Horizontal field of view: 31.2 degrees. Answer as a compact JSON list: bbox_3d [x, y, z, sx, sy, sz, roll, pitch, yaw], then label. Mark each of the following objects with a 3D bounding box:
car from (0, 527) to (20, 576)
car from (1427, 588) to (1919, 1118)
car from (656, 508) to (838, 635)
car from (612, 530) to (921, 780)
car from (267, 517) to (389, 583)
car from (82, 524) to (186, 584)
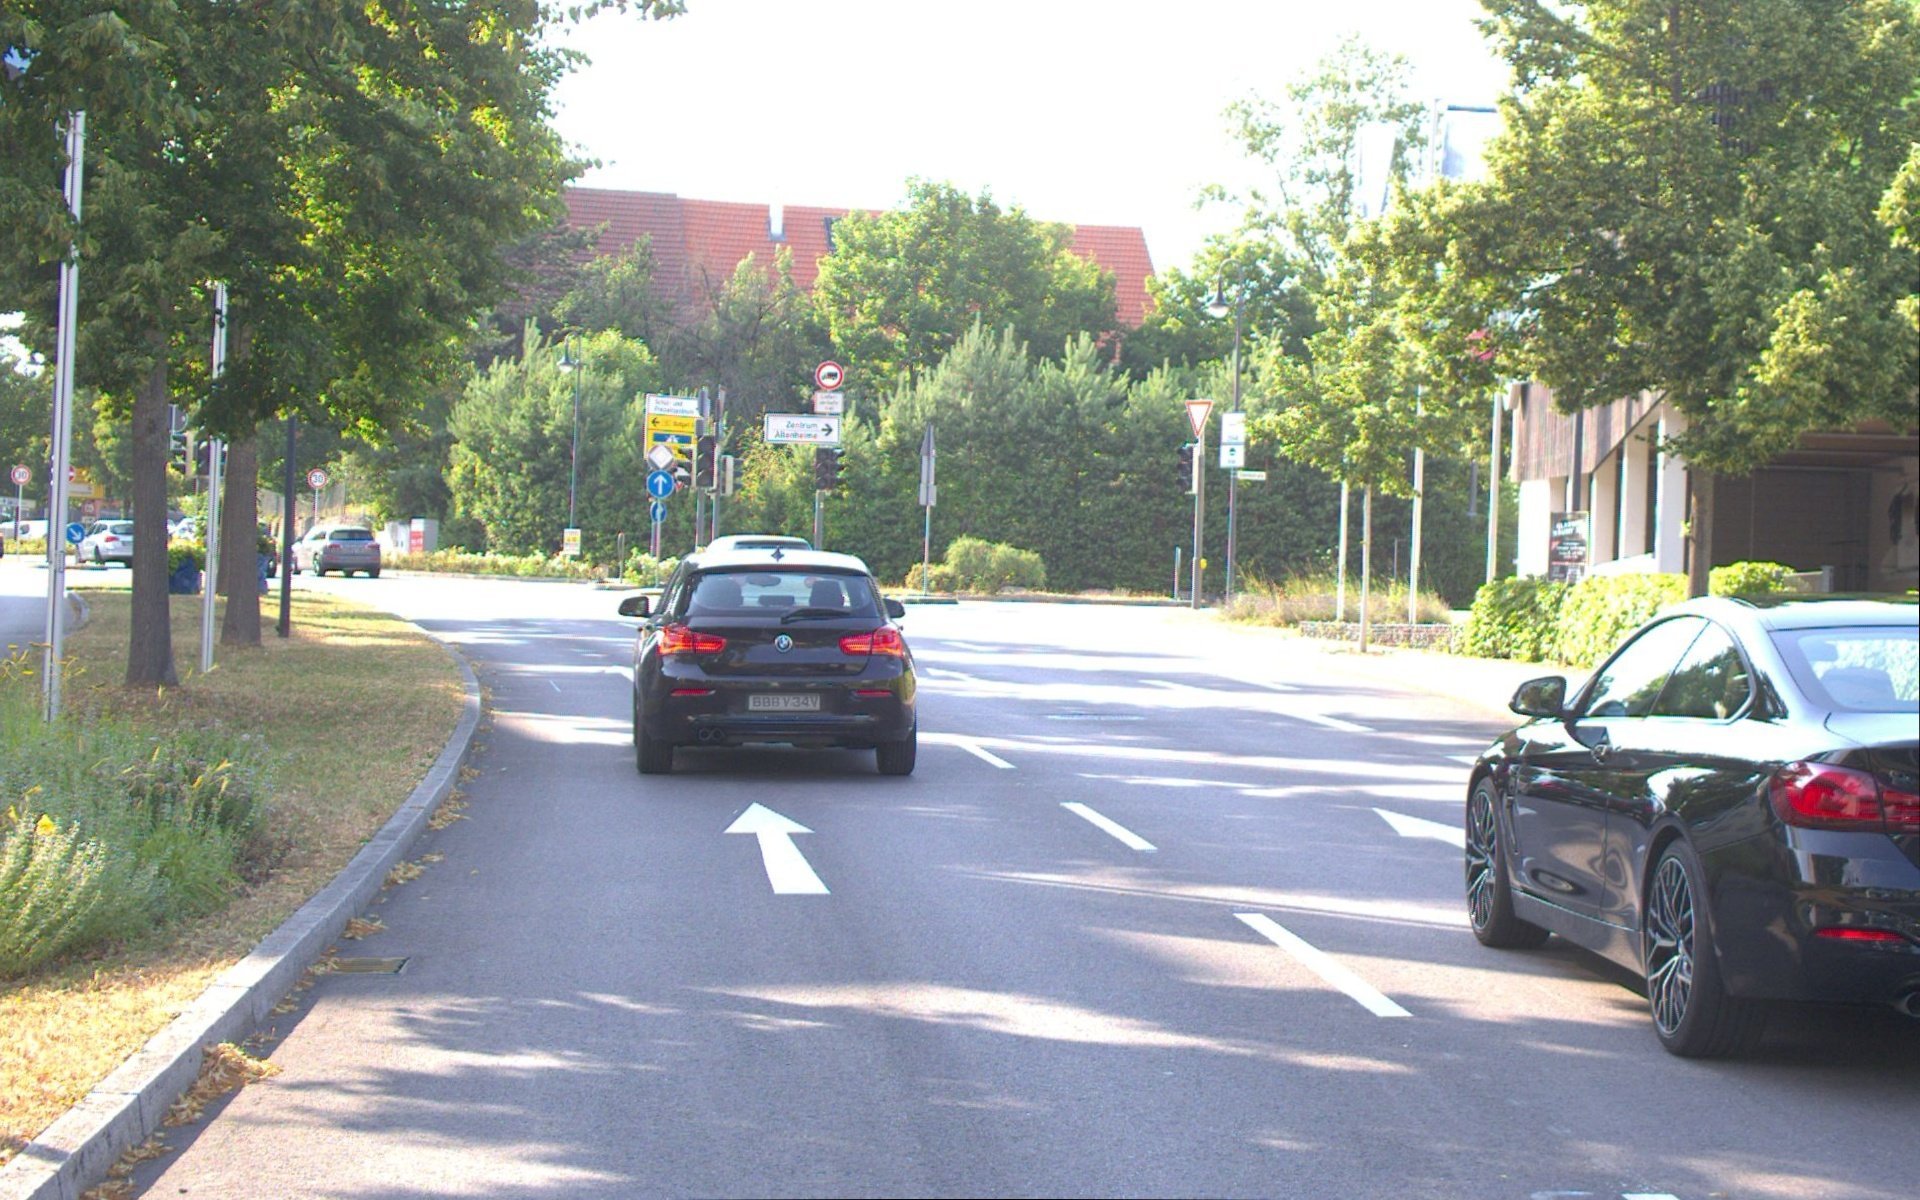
[{"bbox_3d":[-35.860,-1.803,124.796,2.217,1.763,4.455,1,1,-30],"label":"car"},{"bbox_3d":[2.899,0.674,11.325,1.920,1.359,4.353,1,1,-3],"label":"car"},{"bbox_3d":[-3.173,-0.440,50.391,1.924,1.763,4.456,1,1,-13],"label":"car"},{"bbox_3d":[-1.394,0.304,23.107,1.720,1.485,4.354,2,1,-7],"label":"car"},{"bbox_3d":[-18.010,-1.439,97.769,2.257,1.669,4.589,3,1,-25],"label":"car"},{"bbox_3d":[-26.173,-1.474,108.872,2.257,1.669,4.589,3,1,-25],"label":"car"}]
